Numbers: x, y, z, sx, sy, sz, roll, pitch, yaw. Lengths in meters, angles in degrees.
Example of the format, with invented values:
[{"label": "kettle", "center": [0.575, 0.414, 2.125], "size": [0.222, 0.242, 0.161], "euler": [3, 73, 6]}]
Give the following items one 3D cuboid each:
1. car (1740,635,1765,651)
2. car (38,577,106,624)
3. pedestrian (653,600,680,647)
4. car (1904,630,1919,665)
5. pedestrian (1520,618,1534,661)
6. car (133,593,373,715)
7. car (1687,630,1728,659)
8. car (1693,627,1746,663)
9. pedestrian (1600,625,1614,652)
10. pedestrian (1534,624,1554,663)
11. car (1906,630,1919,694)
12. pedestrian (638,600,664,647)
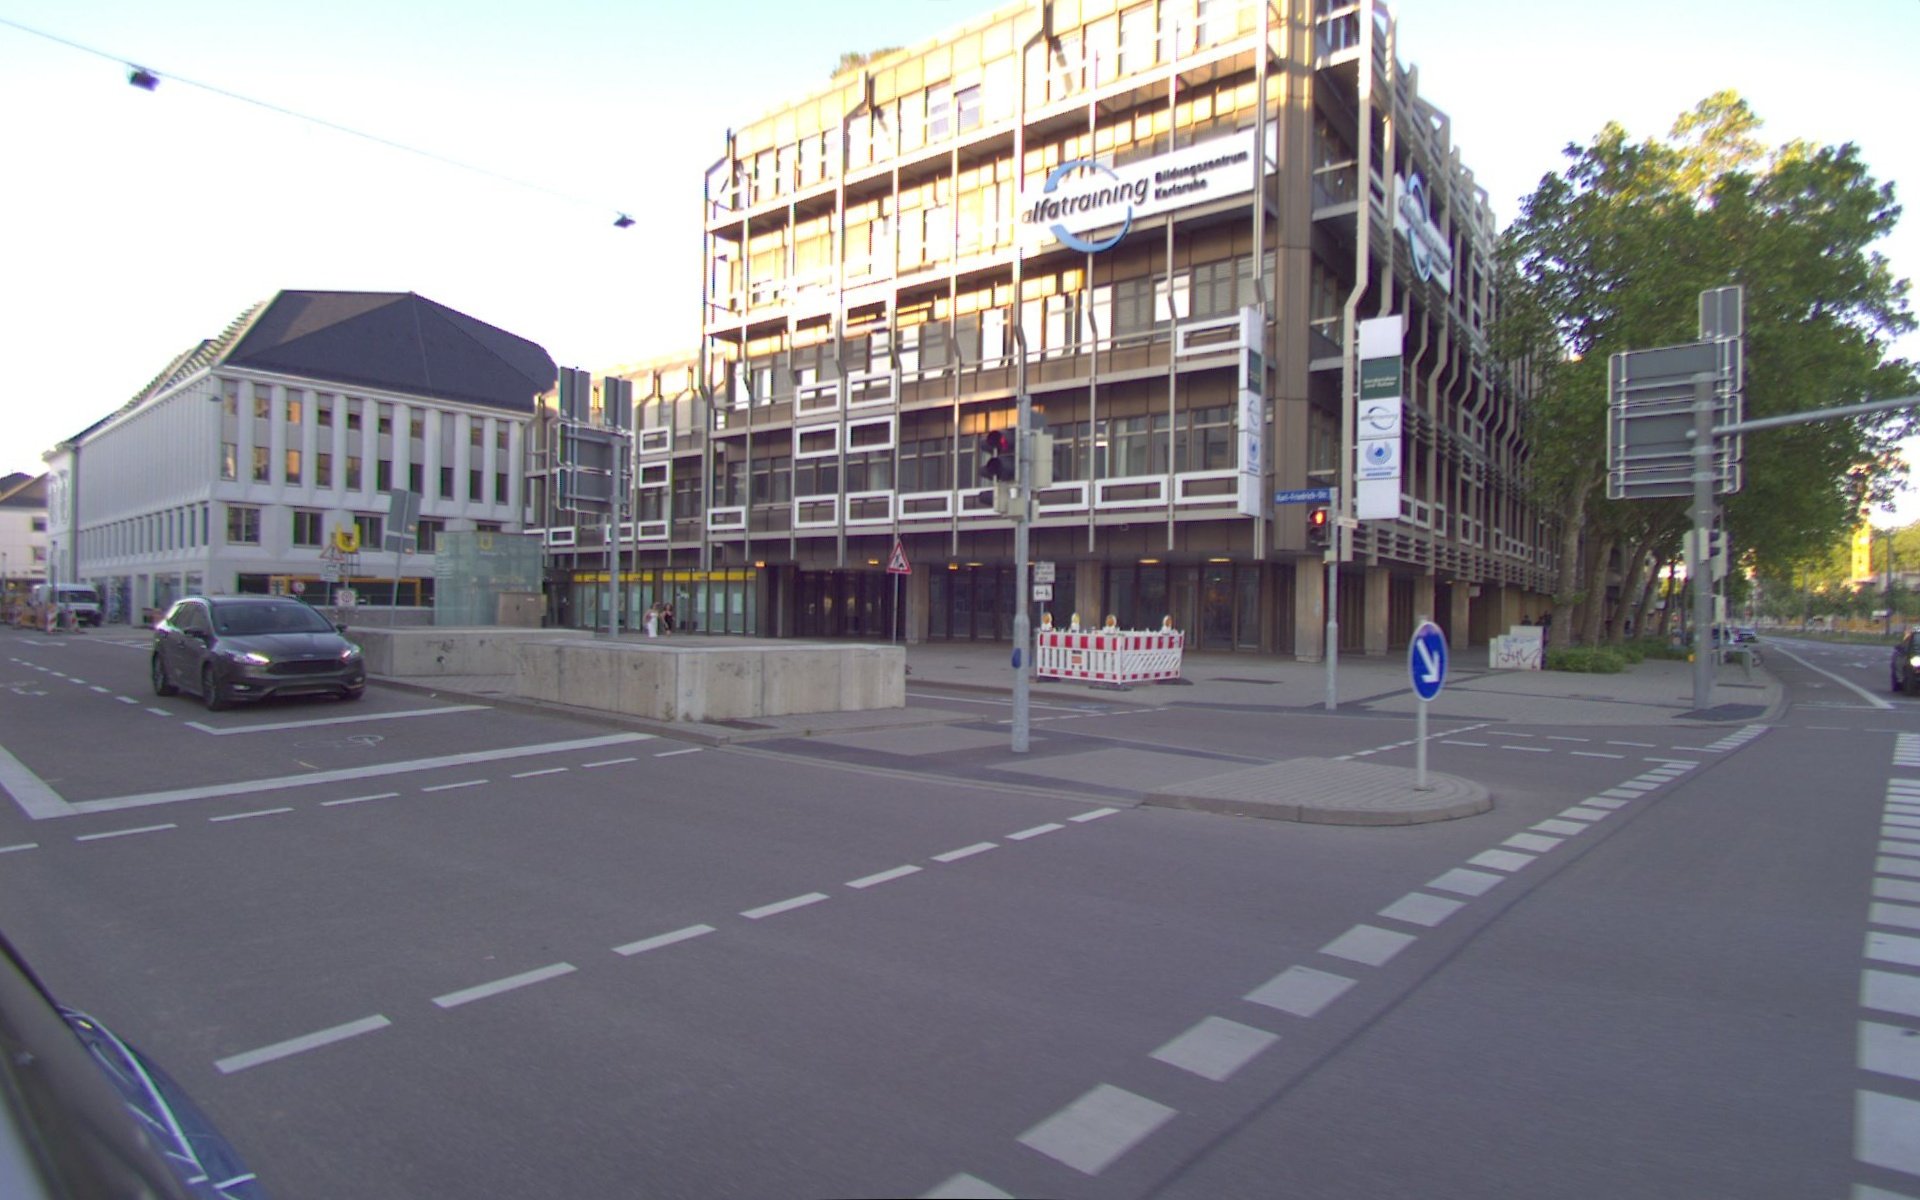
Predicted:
[{"label": "car", "center": [82.443, 4.458, 105.306], "size": [1.738, 1.596, 4.538], "euler": [-1, -2, 34]}, {"label": "car", "center": [-51.505, 0.038, 58.657], "size": [6.047, 2.575, 2.114], "euler": [0, -1, 41]}, {"label": "pedestrian", "center": [-10.622, 0.843, 36.622], "size": [0.702, 1.651, 0.608], "euler": [0, -1, 41]}, {"label": "car", "center": [45.205, 2.166, 46.614], "size": [1.847, 1.596, 4.536], "euler": [-1, -2, 35]}, {"label": "pedestrian", "center": [27.516, 1.911, 49.089], "size": [0.516, 2.029, 0.575], "euler": [1, 1, 36]}, {"label": "car", "center": [-10.186, 0.662, 14.453], "size": [4.376, 1.473, 1.740], "euler": [0, 1, 40]}, {"label": "car", "center": [43.042, 2.550, 58.224], "size": [1.740, 1.596, 3.746], "euler": [-1, -2, 39]}, {"label": "car", "center": [35.546, 2.072, 47.340], "size": [1.741, 1.596, 4.530], "euler": [-1, -2, 40]}, {"label": "pedestrian", "center": [45.111, 2.678, 70.549], "size": [0.755, 1.819, 0.713], "euler": [1, 1, 36]}, {"label": "pedestrian", "center": [27.849, 2.063, 48.254], "size": [0.755, 1.819, 0.713], "euler": [1, 1, 36]}, {"label": "car", "center": [23.729, 1.455, 23.830], "size": [1.850, 1.468, 3.899], "euler": [-1, -2, 40]}, {"label": "pedestrian", "center": [-11.044, 0.822, 36.155], "size": [0.583, 1.651, 0.662], "euler": [0, -1, 41]}]
